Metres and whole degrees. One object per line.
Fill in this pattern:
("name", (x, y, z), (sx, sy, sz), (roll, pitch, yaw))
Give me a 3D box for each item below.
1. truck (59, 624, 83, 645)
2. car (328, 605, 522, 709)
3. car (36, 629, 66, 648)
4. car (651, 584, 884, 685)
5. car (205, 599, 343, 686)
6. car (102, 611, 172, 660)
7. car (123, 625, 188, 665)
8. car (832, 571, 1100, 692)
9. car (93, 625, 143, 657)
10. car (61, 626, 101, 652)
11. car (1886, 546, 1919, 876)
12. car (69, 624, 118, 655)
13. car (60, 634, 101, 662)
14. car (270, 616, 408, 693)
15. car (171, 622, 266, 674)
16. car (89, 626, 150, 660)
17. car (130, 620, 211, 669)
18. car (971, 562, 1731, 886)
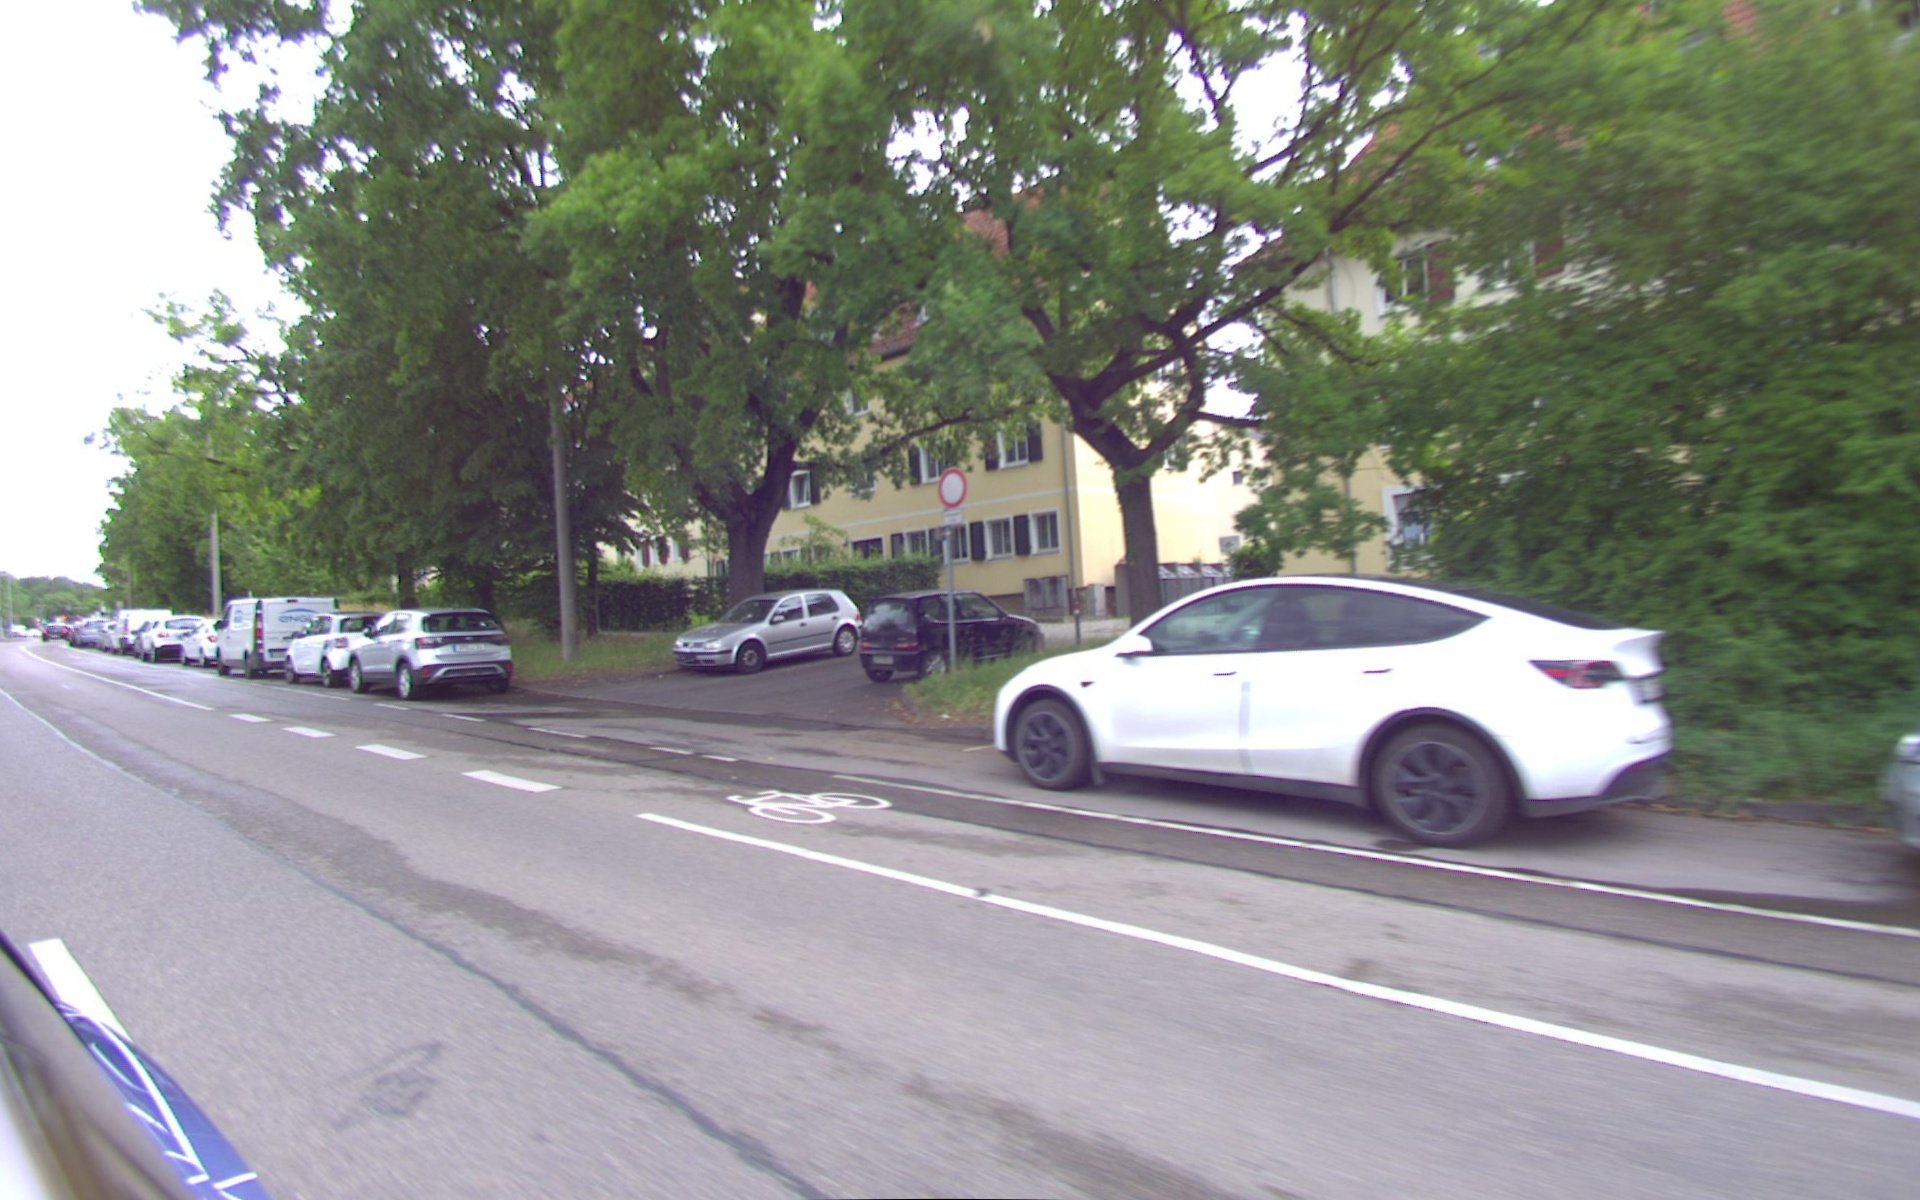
("truck", (-155.807, 5.994, 177.495), (2.789, 3.507, 7.837), (-1, -1, -39))
("car", (-9.810, 0.976, 18.427), (4.156, 1.646, 1.748), (-2, 0, 41))
("car", (-74.702, 3.143, 83.172), (1.616, 1.478, 4.007), (0, -1, -39))
("car", (-3.754, 0.614, 20.434), (1.867, 1.460, 4.390), (-2, 4, 39))
("car", (-17.531, 1.038, 25.750), (5.128, 1.978, 1.845), (-2, -1, 44))
("car", (-35.877, 1.539, 44.058), (5.156, 1.945, 1.748), (-3, 0, 44))
("car", (-31.501, 1.723, 39.586), (1.653, 1.499, 4.048), (1, -2, -44))
("car", (0.222, 0.441, 17.060), (4.383, 1.465, 1.888), (-7, 4, -44))
("car", (-43.414, 2.106, 52.176), (1.747, 1.507, 4.361), (0, -2, -43))
("car", (-52.161, 2.302, 60.042), (1.746, 1.458, 4.154), (-1, -1, -42))
("car", (6.359, 0.492, 3.781), (4.115, 1.585, 1.850), (-1, 0, 39))
("car", (-48.229, 2.212, 56.326), (1.748, 1.604, 4.137), (-1, -1, -45))
("car", (-55.424, 3.006, 63.808), (1.852, 1.582, 4.657), (-2, 0, -41))
("car", (-13.520, 1.137, 21.960), (3.719, 1.493, 1.564), (-2, 0, 42))
("car", (-23.485, 1.468, 31.997), (4.090, 1.490, 1.644), (-2, 0, 43))
("car", (-40.164, 2.051, 48.348), (3.948, 1.444, 1.618), (-3, 0, 42))
("car", (-27.905, 1.546, 35.734), (4.282, 1.576, 1.654), (-2, -1, 44))
("car", (2.419, 0.641, 7.232), (4.760, 1.585, 1.748), (-1, -1, 43))
